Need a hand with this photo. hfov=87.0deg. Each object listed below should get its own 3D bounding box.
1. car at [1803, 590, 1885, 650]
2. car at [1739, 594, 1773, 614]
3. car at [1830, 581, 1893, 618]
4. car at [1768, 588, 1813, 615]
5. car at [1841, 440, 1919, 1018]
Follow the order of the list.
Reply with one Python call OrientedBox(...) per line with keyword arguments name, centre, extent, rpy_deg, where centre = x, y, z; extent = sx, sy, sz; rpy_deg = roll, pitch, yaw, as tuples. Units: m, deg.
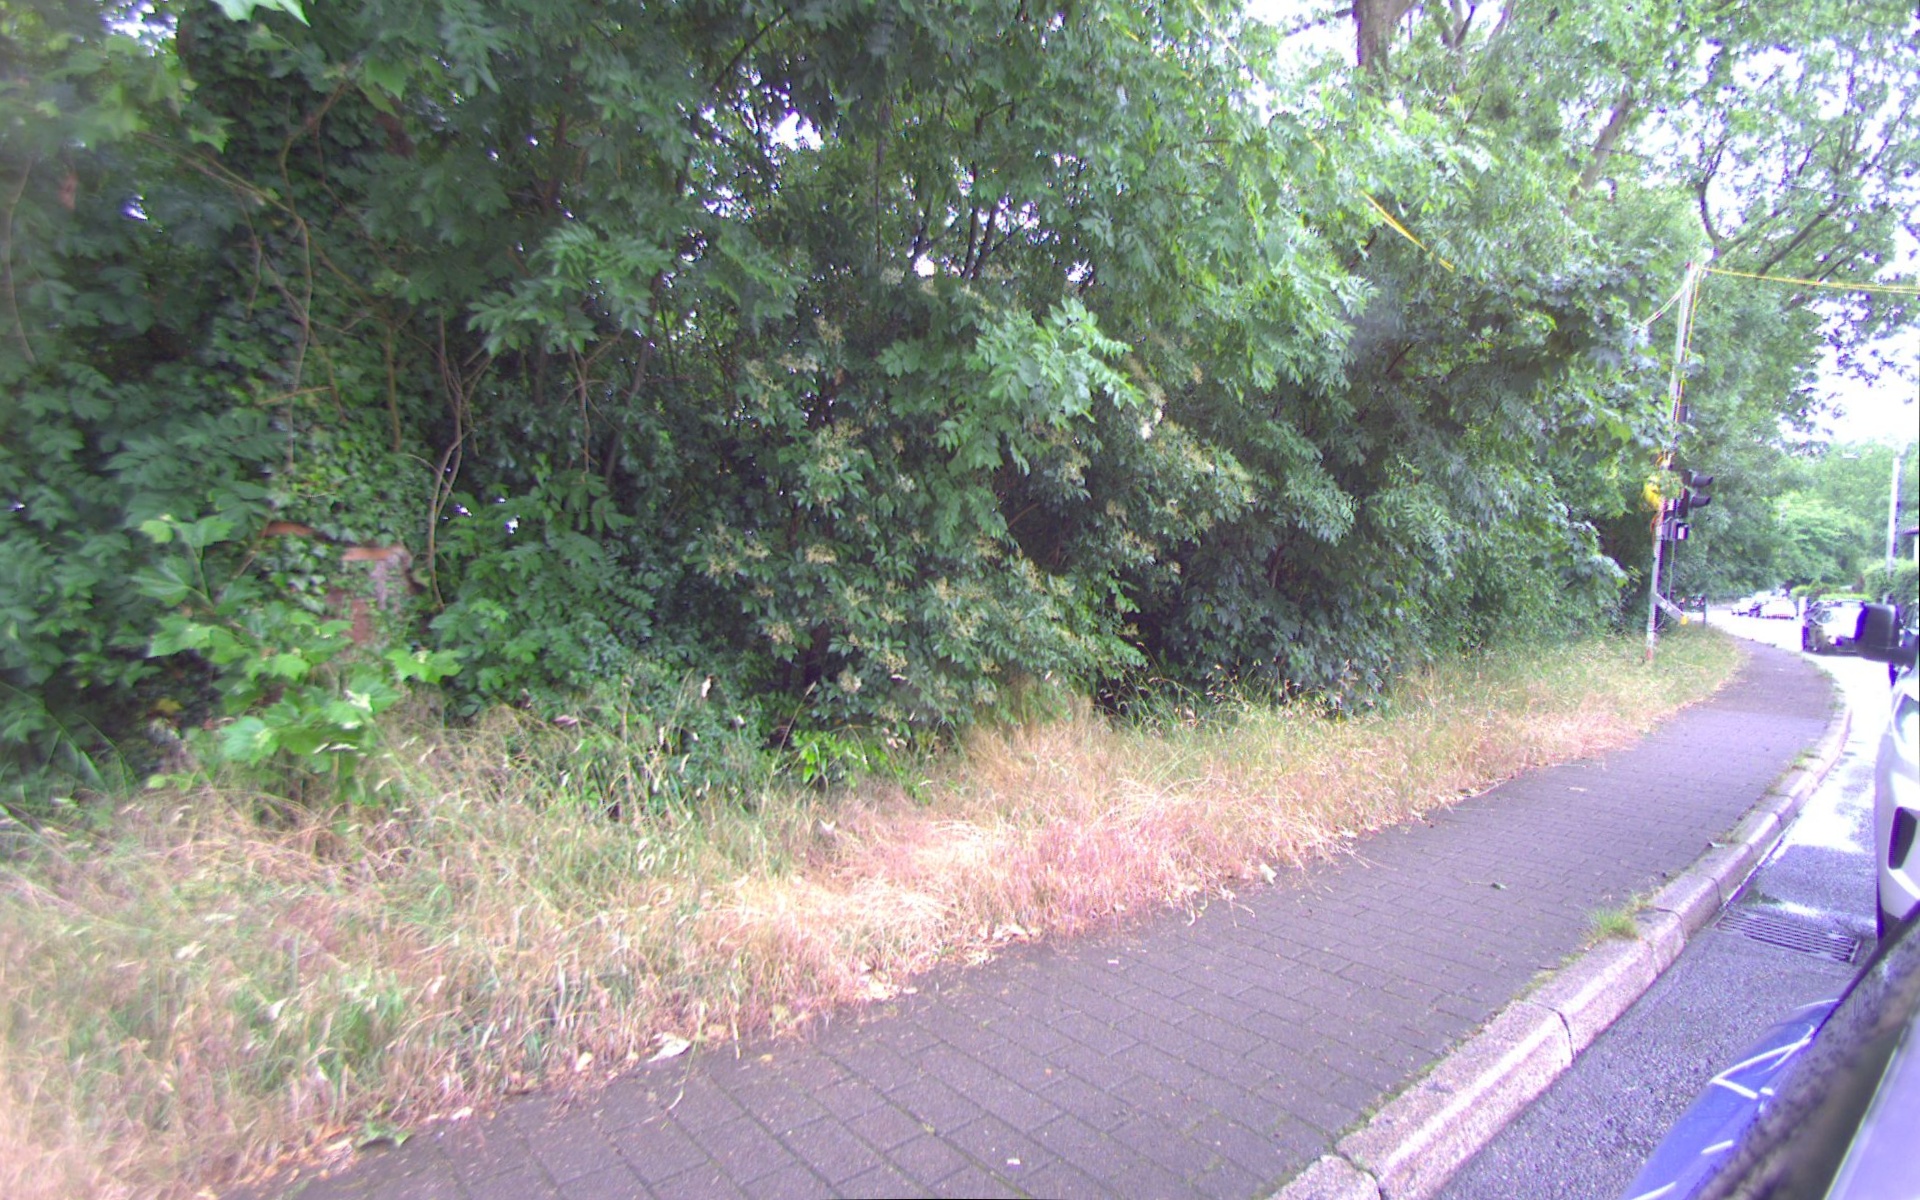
OrientedBox(name="car", centre=(25.466, 0.608, 29.226), extent=(1.663, 1.610, 3.946), rpy_deg=(0, -2, 40))
OrientedBox(name="car", centre=(64.825, 0.292, 82.432), extent=(1.752, 1.547, 3.550), rpy_deg=(0, 0, 32))
OrientedBox(name="car", centre=(51.263, -0.060, 57.604), extent=(1.984, 2.039, 3.955), rpy_deg=(0, 0, 32))
OrientedBox(name="car", centre=(60.595, 0.082, 73.902), extent=(1.984, 1.884, 4.311), rpy_deg=(0, 0, 32))
OrientedBox(name="car", centre=(5.648, 0.406, 4.406), extent=(5.118, 1.917, 2.044), rpy_deg=(-1, 0, -41))
